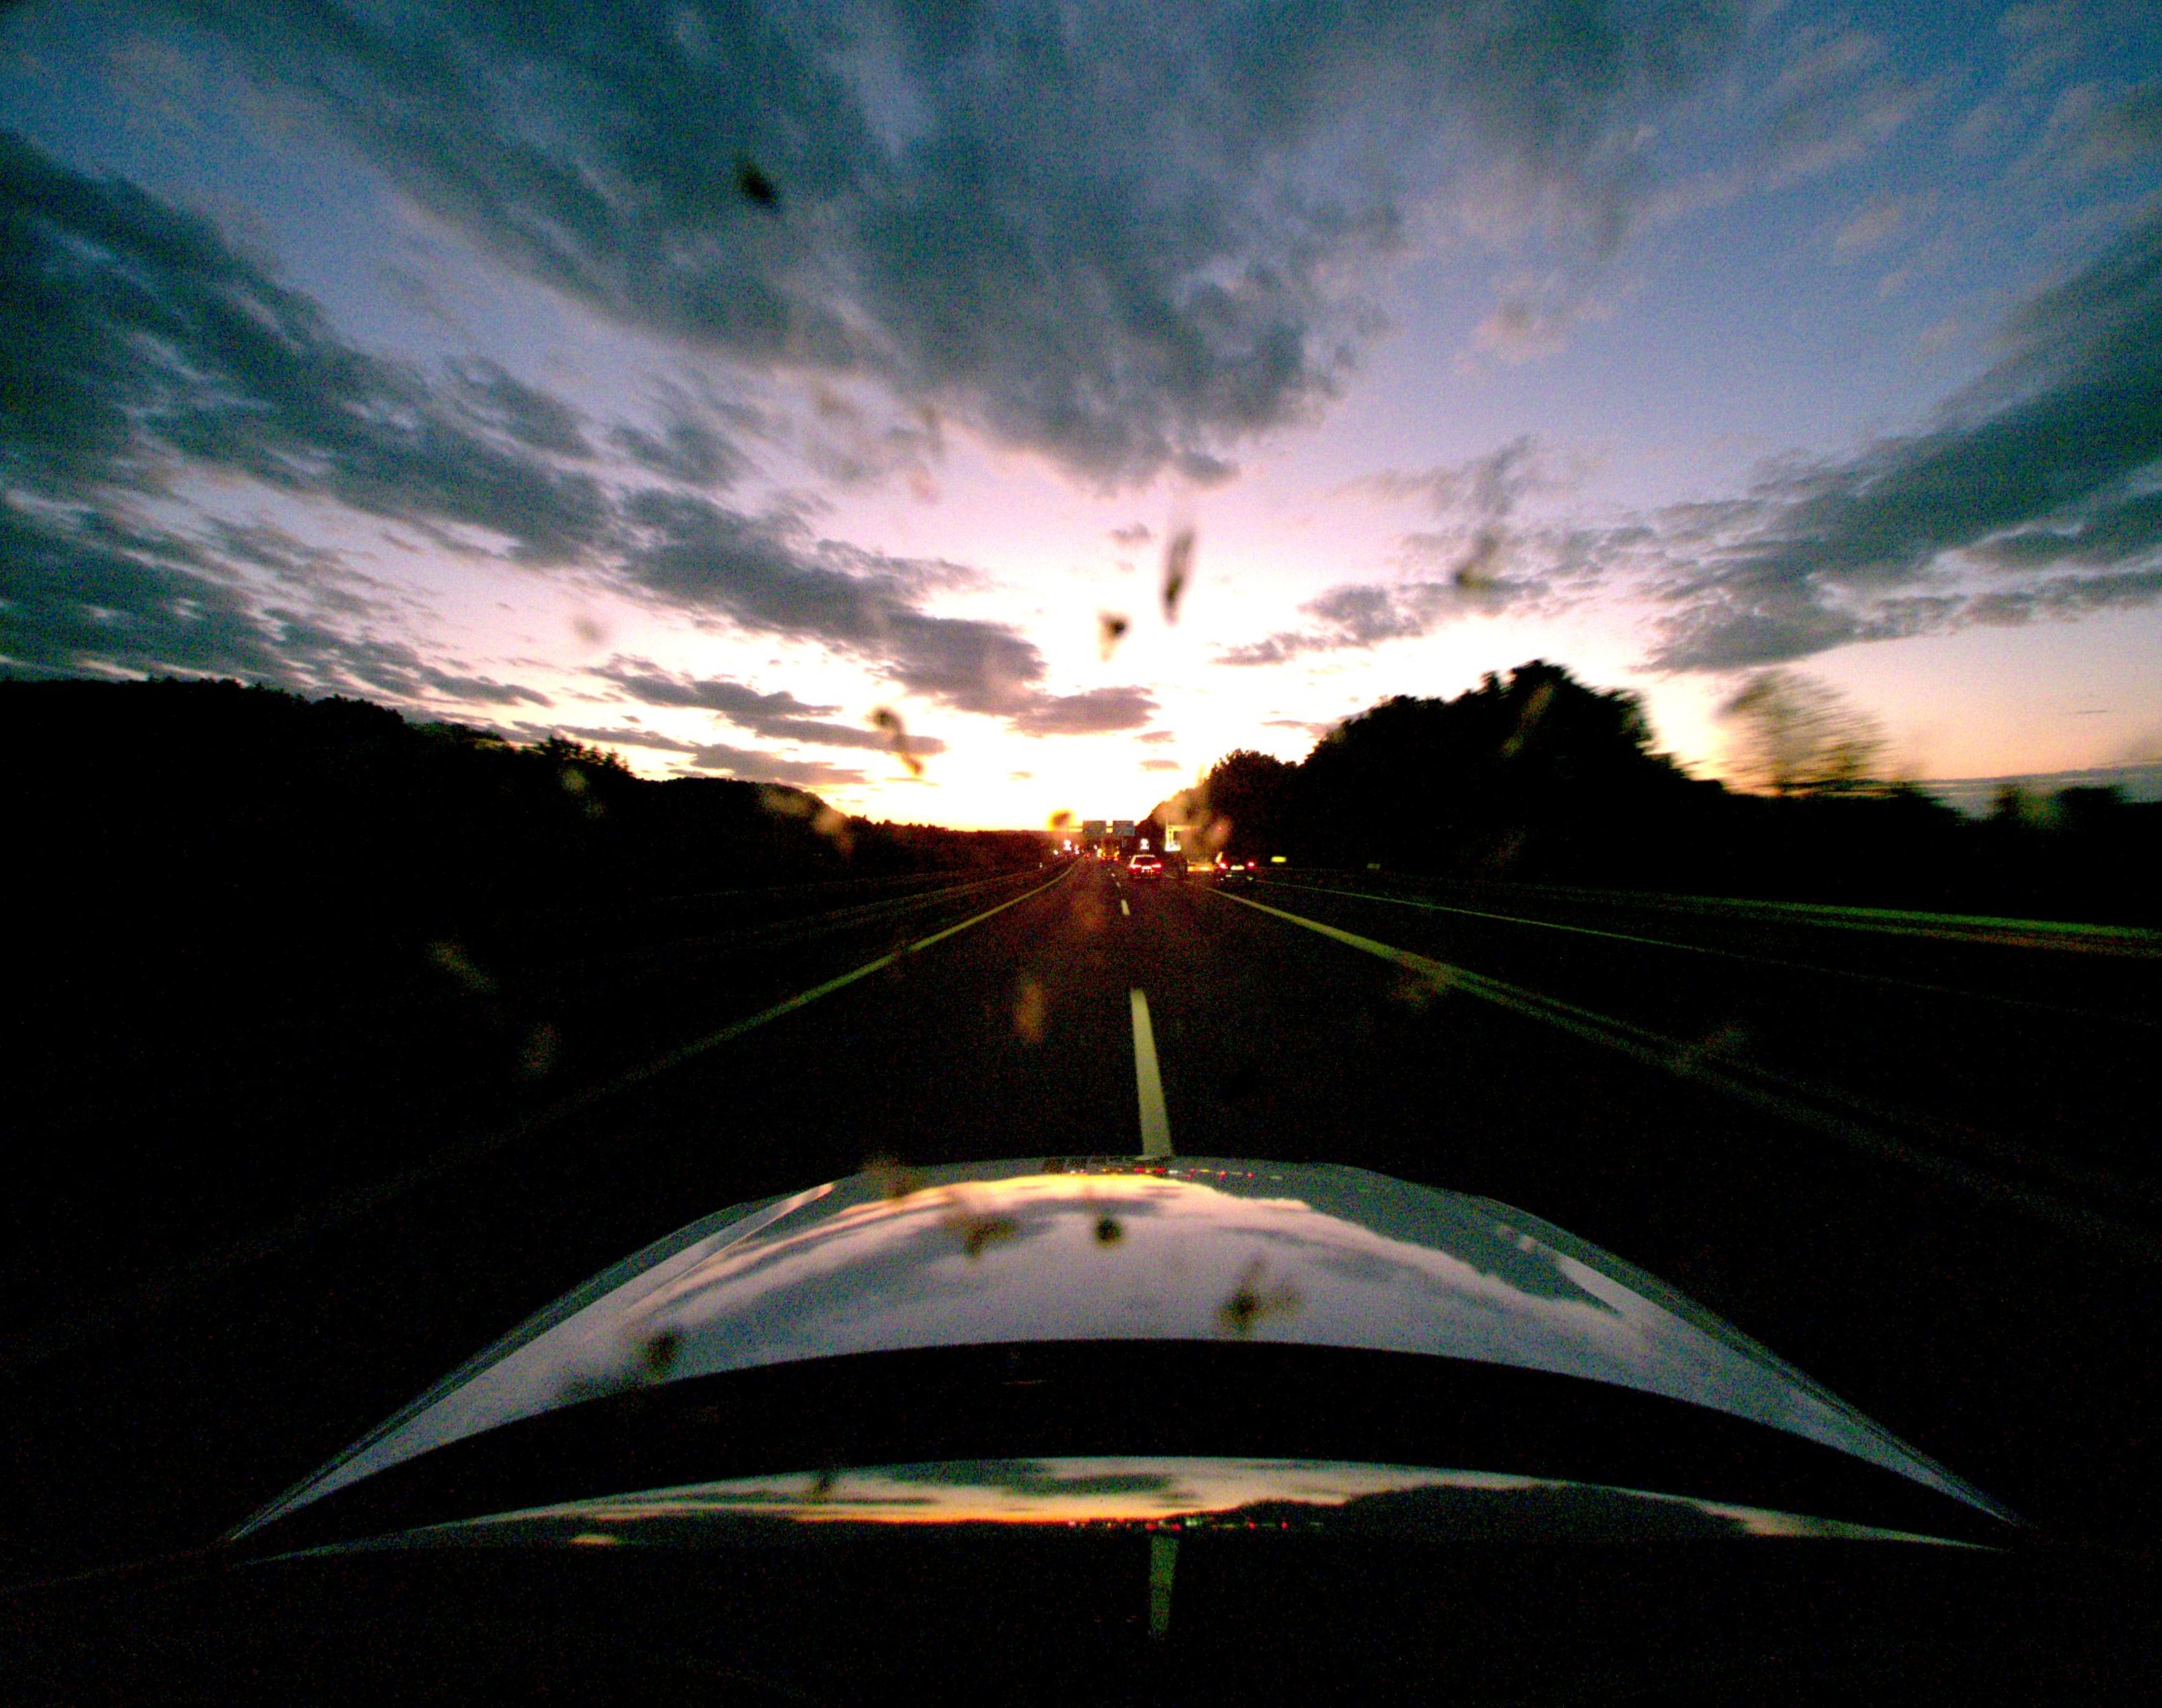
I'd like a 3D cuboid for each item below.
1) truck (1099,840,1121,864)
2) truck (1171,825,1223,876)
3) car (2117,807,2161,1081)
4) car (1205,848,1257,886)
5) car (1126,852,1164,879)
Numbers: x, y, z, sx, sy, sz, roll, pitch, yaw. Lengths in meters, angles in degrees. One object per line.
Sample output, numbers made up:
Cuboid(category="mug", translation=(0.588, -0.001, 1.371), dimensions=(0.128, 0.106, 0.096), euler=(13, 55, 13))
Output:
Cuboid(category="truck", translation=(5.267, -0.358, 149.699), dimensions=(3.499, 4.301, 9.889), euler=(0, -1, 0))
Cuboid(category="truck", translation=(7.308, -0.192, 51.958), dimensions=(2.261, 2.972, 6.630), euler=(2, 0, 0))
Cuboid(category="car", translation=(7.394, 0.531, 2.529), dimensions=(1.792, 1.645, 5.158), euler=(0, 0, -1))
Cuboid(category="car", translation=(6.460, 0.551, 35.367), dimensions=(1.606, 1.556, 3.317), euler=(0, -1, -1))
Cuboid(category="car", translation=(3.650, 0.652, 47.019), dimensions=(1.909, 1.442, 3.999), euler=(0, -1, 0))
